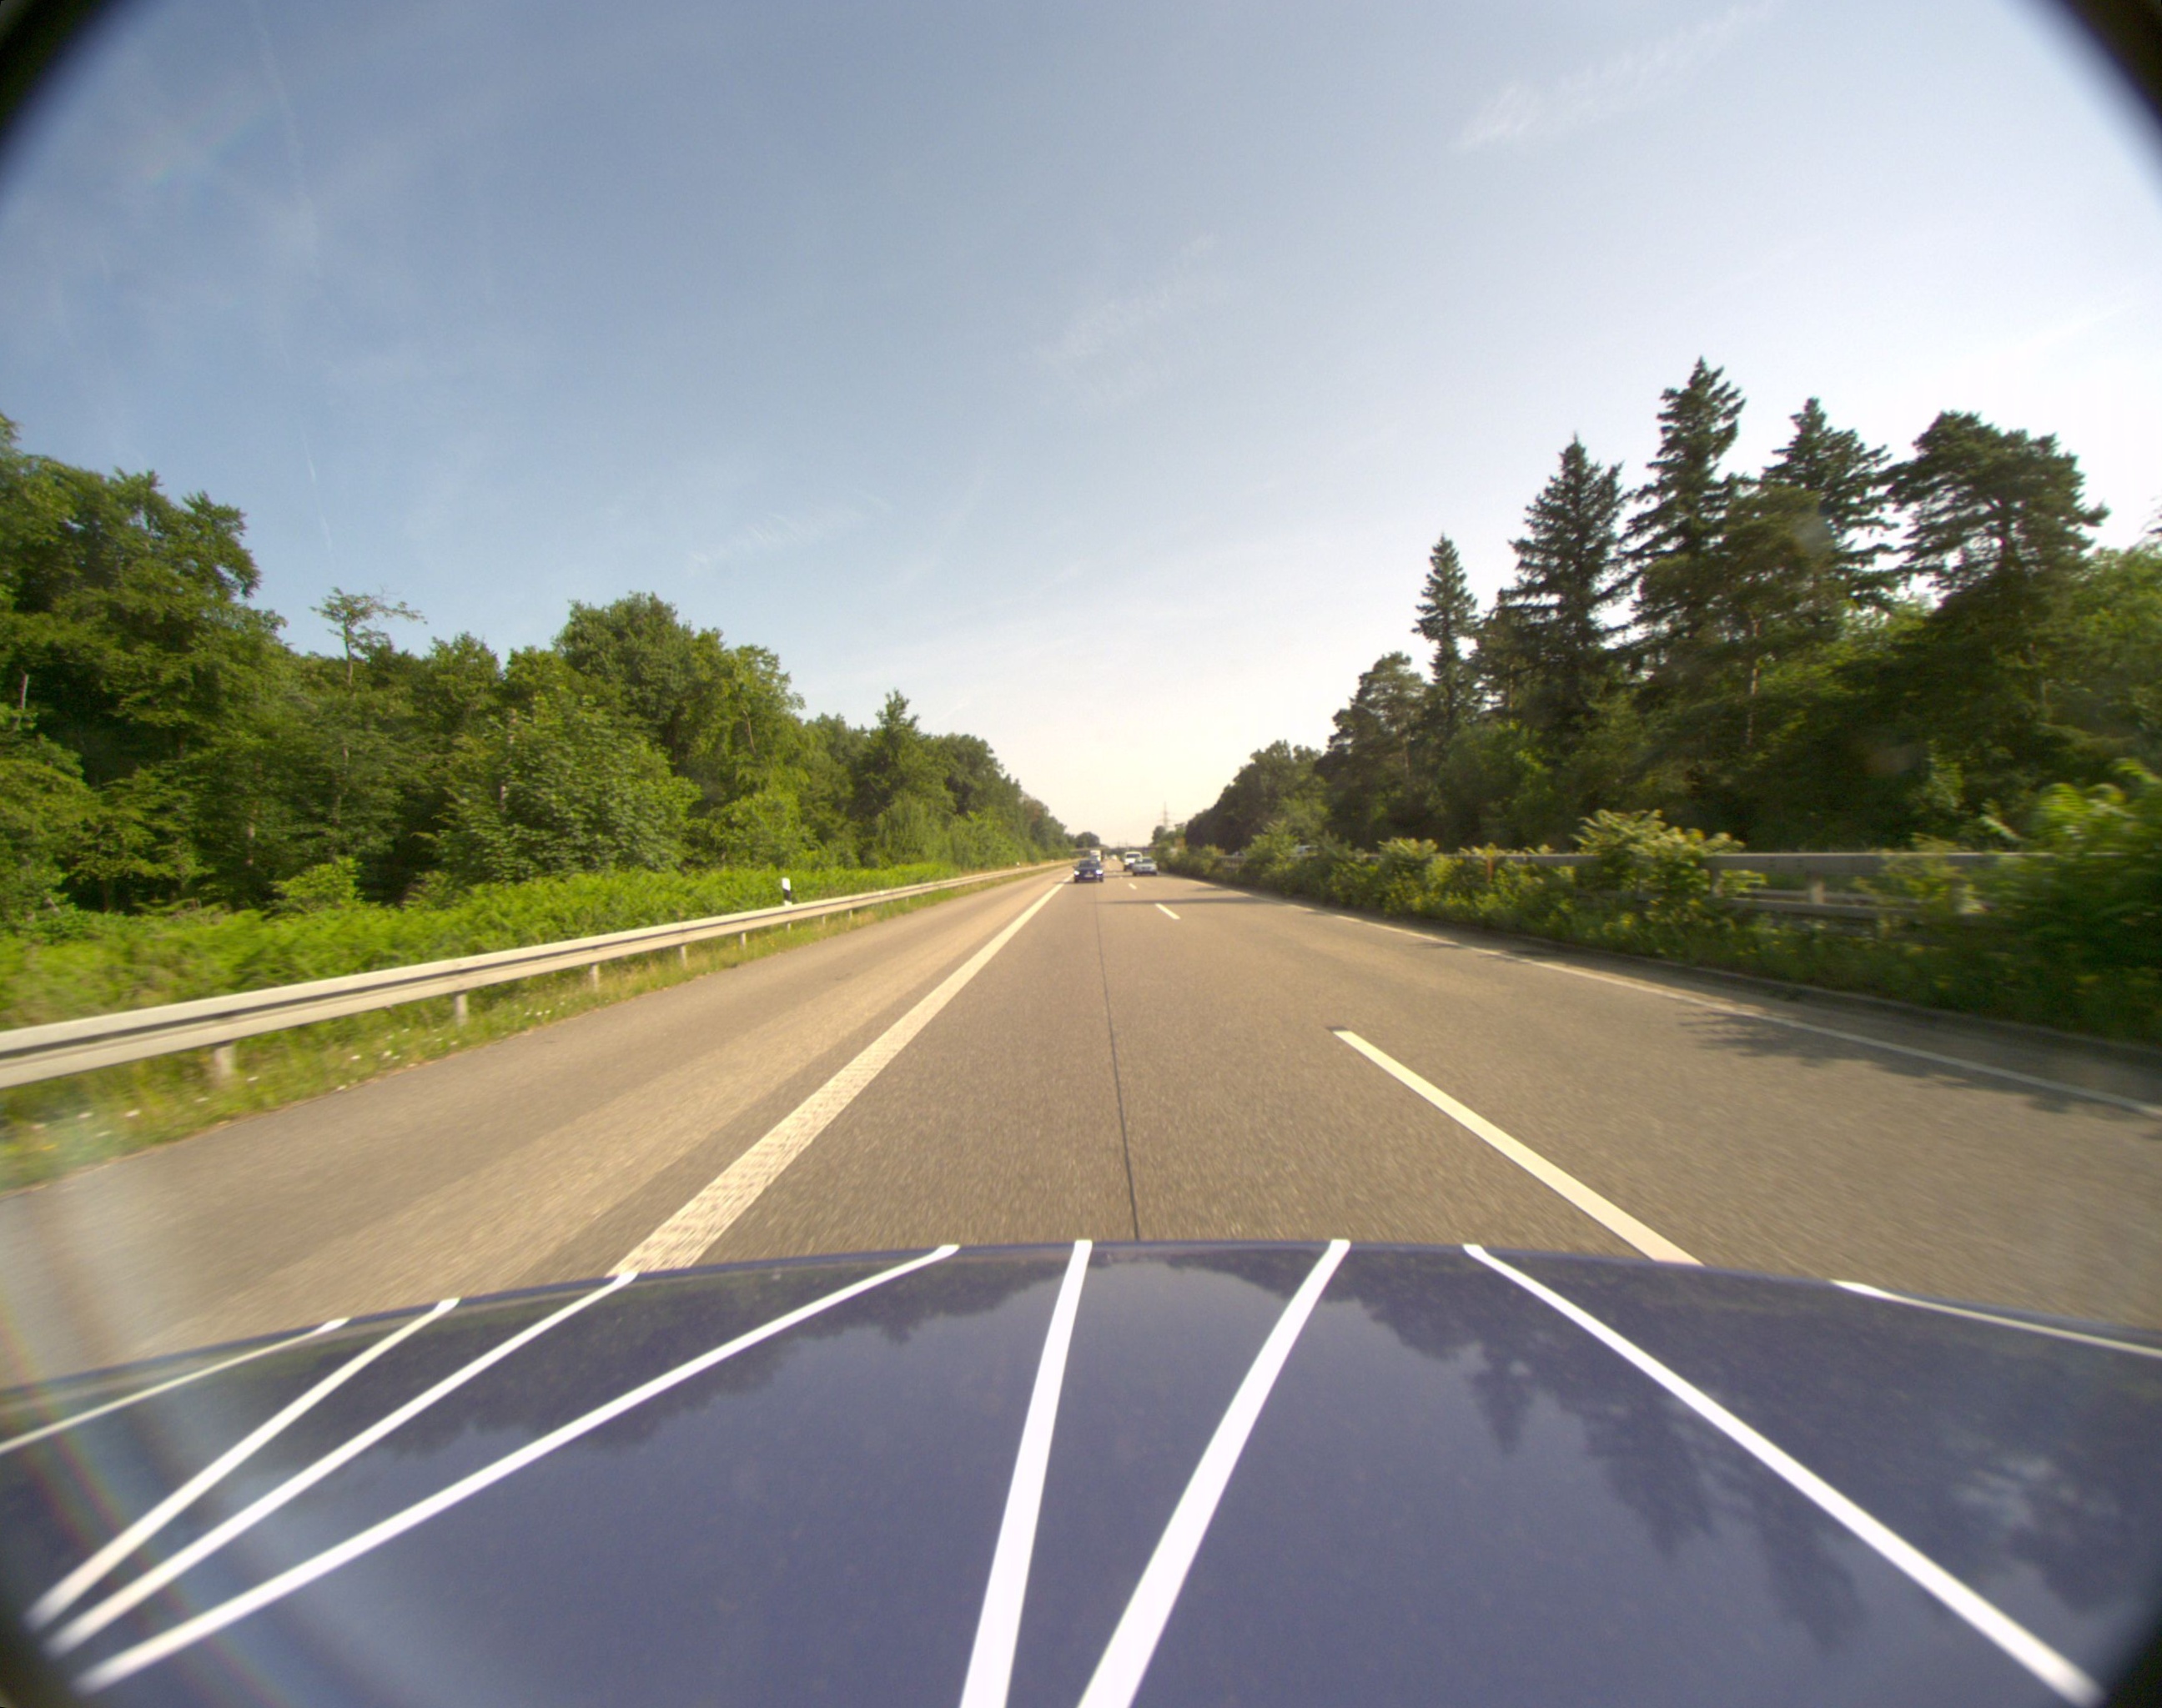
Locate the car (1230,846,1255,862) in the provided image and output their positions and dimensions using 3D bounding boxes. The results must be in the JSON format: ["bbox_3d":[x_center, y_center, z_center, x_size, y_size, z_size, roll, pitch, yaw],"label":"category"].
[{"bbox_3d":[17.486,-0.031,82.267,1.820,1.673,4.300,-2,1,1],"label":"car"}]

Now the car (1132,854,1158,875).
[{"bbox_3d":[4.997,0.821,59.956,1.754,1.477,5.264,-2,0,2],"label":"car"}]

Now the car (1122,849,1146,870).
[{"bbox_3d":[5.391,0.526,77.488,1.912,1.934,4.705,-2,0,-1],"label":"car"}]

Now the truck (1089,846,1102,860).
[{"bbox_3d":[3.347,-0.215,176.161,2.695,3.020,10.371,-2,0,0],"label":"truck"}]

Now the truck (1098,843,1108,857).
[{"bbox_3d":[6.618,-1.190,229.744,2.695,4.061,12.363,-2,0,-1],"label":"truck"}]

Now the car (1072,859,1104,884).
[{"bbox_3d":[0.414,1.005,44.182,1.789,1.285,3.538,-2,0,1],"label":"car"}]

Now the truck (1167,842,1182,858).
[{"bbox_3d":[19.493,-0.867,158.763,2.468,3.158,7.227,0,0,1],"label":"truck"}]

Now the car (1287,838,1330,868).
[{"bbox_3d":[16.327,-0.099,54.797,1.820,2.002,4.493,-2,1,1],"label":"car"}]
